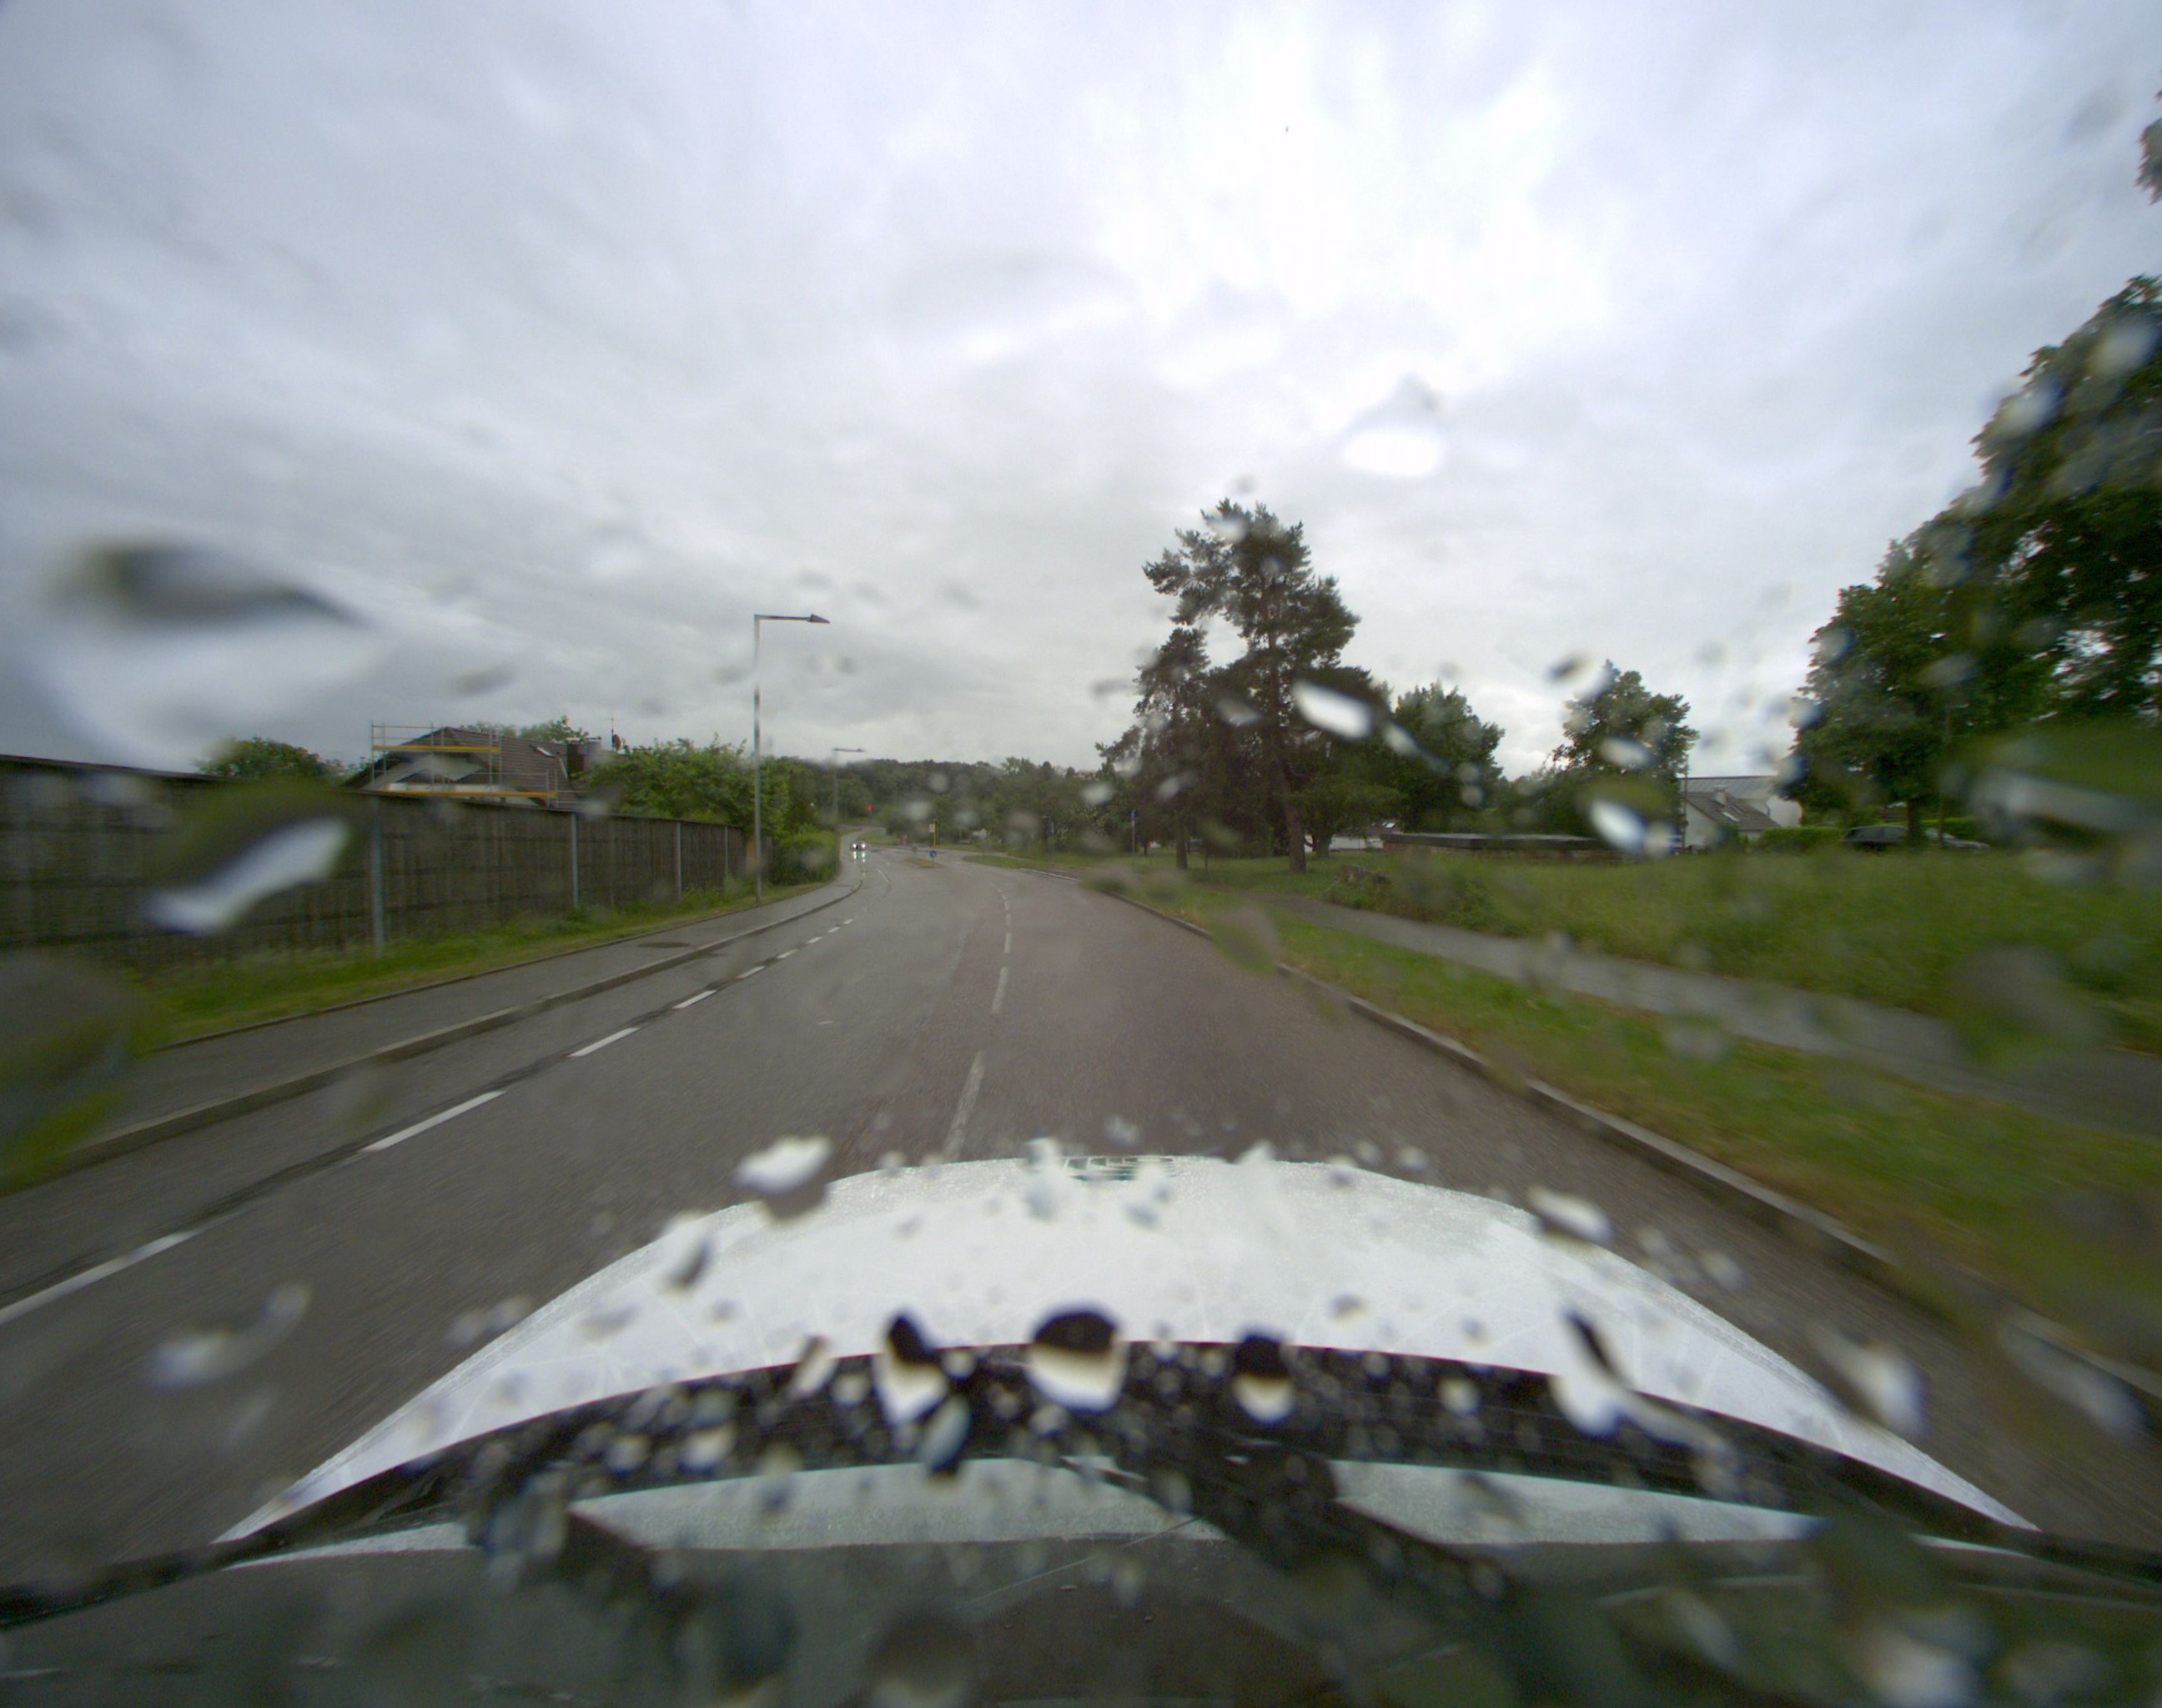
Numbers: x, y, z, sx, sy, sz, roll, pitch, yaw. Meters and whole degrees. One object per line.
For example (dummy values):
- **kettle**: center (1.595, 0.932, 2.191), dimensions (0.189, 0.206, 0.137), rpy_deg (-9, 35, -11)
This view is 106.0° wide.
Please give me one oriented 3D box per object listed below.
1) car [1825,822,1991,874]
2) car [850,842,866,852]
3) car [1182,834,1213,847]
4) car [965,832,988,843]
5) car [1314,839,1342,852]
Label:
- **car**: center (28.419, -0.241, 28.188), dimensions (1.819, 1.652, 4.002), rpy_deg (-1, 1, 2)
- **car**: center (-32.627, -1.086, 119.085), dimensions (1.463, 1.355, 3.502), rpy_deg (1, 1, -29)
- **car**: center (18.588, -2.190, 130.272), dimensions (4.499, 1.750, 1.925), rpy_deg (-3, 0, 39)
- **car**: center (-18.178, -2.858, 141.702), dimensions (3.381, 1.690, 2.011), rpy_deg (-2, -2, 25)
- **car**: center (31.585, -1.066, 104.288), dimensions (1.969, 1.464, 3.994), rpy_deg (-4, 0, -4)
